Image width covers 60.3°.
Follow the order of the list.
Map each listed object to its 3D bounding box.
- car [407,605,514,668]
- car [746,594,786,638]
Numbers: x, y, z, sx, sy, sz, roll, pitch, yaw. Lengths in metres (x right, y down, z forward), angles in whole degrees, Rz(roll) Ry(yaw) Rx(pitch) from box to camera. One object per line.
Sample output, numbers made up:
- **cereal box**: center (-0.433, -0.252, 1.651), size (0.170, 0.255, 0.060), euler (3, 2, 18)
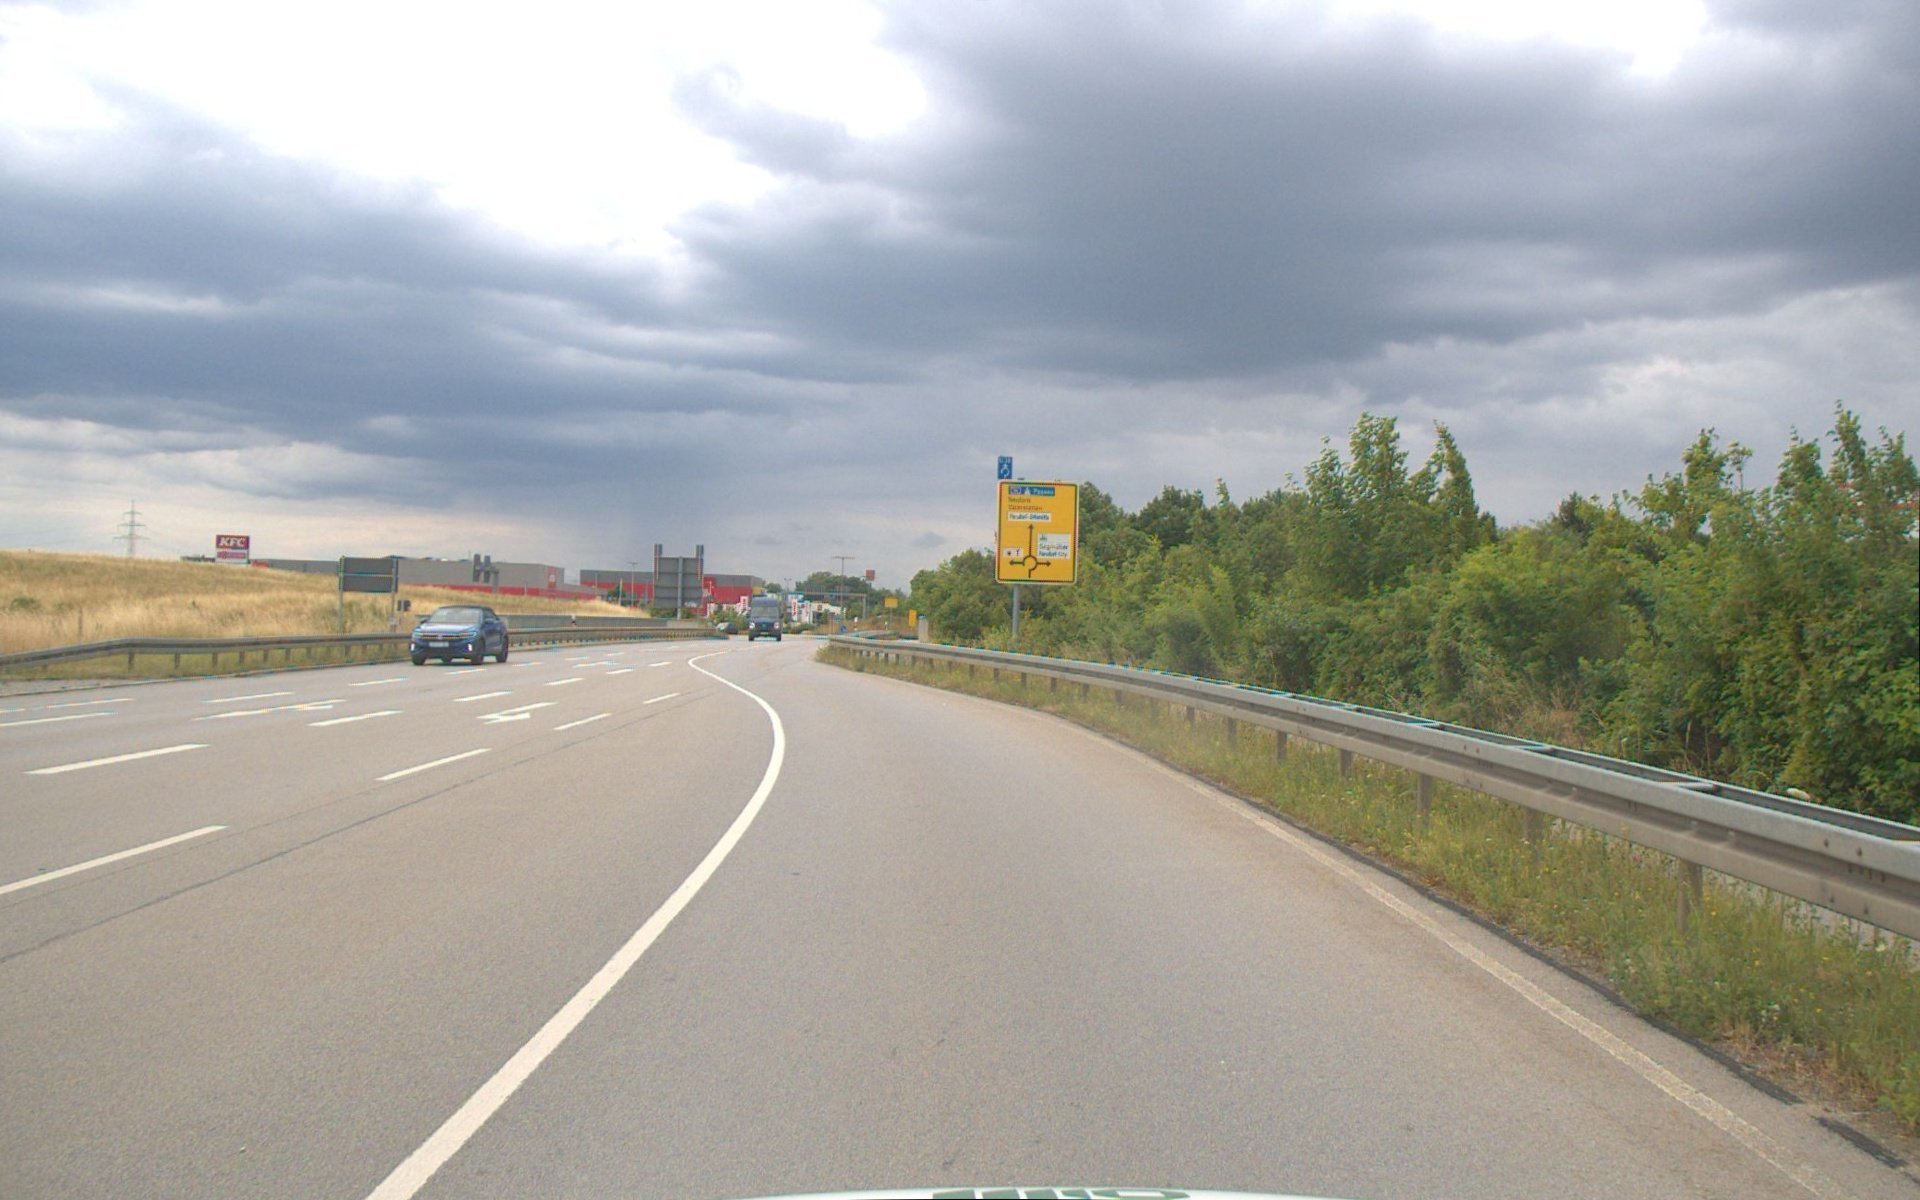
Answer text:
- **car**: center (-13.358, 0.959, 44.415), size (1.761, 1.578, 3.998), euler (1, -1, -2)
- **car**: center (-11.918, 0.997, 102.178), size (1.953, 2.638, 6.001), euler (1, -1, -2)
